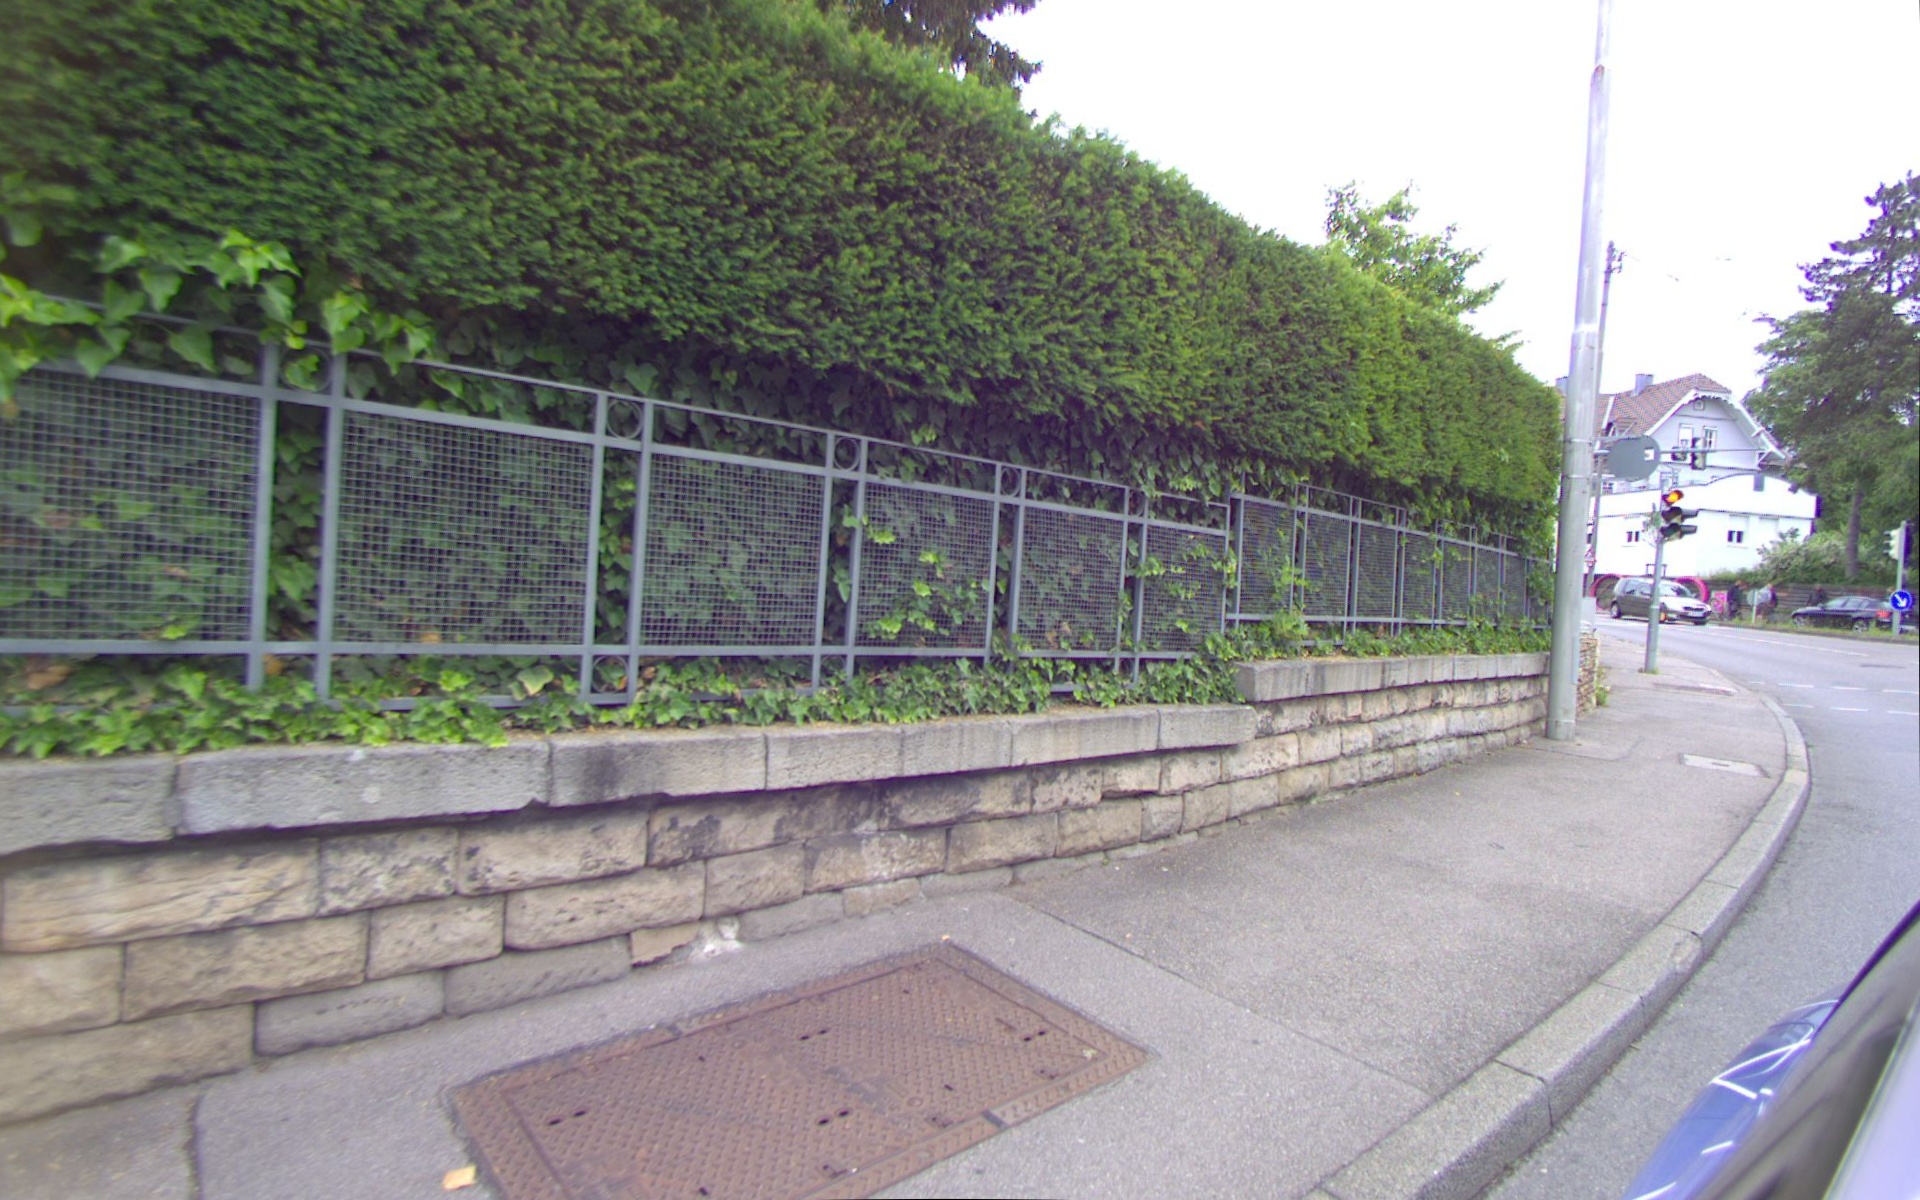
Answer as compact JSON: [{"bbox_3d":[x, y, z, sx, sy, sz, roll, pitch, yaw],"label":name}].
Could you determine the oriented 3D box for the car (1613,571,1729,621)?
[{"bbox_3d":[25.781,-0.204,36.885,1.590,1.599,3.998,2,3,5],"label":"car"}]

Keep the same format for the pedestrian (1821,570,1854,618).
[{"bbox_3d":[35.283,-0.238,40.699,0.591,1.857,0.614,3,3,-13],"label":"pedestrian"}]

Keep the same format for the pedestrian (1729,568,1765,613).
[{"bbox_3d":[33.473,-0.400,43.071,0.862,1.836,0.690,3,3,-12],"label":"pedestrian"}]

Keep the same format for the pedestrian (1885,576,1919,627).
[{"bbox_3d":[35.752,0.067,38.346,0.664,1.857,0.614,3,3,-14],"label":"pedestrian"}]

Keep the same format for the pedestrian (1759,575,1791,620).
[{"bbox_3d":[33.451,-0.105,41.541,0.600,1.809,0.668,3,3,-11],"label":"pedestrian"}]

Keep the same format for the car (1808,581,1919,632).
[{"bbox_3d":[31.271,0.211,34.395,1.738,1.425,3.996,4,3,6],"label":"car"}]
